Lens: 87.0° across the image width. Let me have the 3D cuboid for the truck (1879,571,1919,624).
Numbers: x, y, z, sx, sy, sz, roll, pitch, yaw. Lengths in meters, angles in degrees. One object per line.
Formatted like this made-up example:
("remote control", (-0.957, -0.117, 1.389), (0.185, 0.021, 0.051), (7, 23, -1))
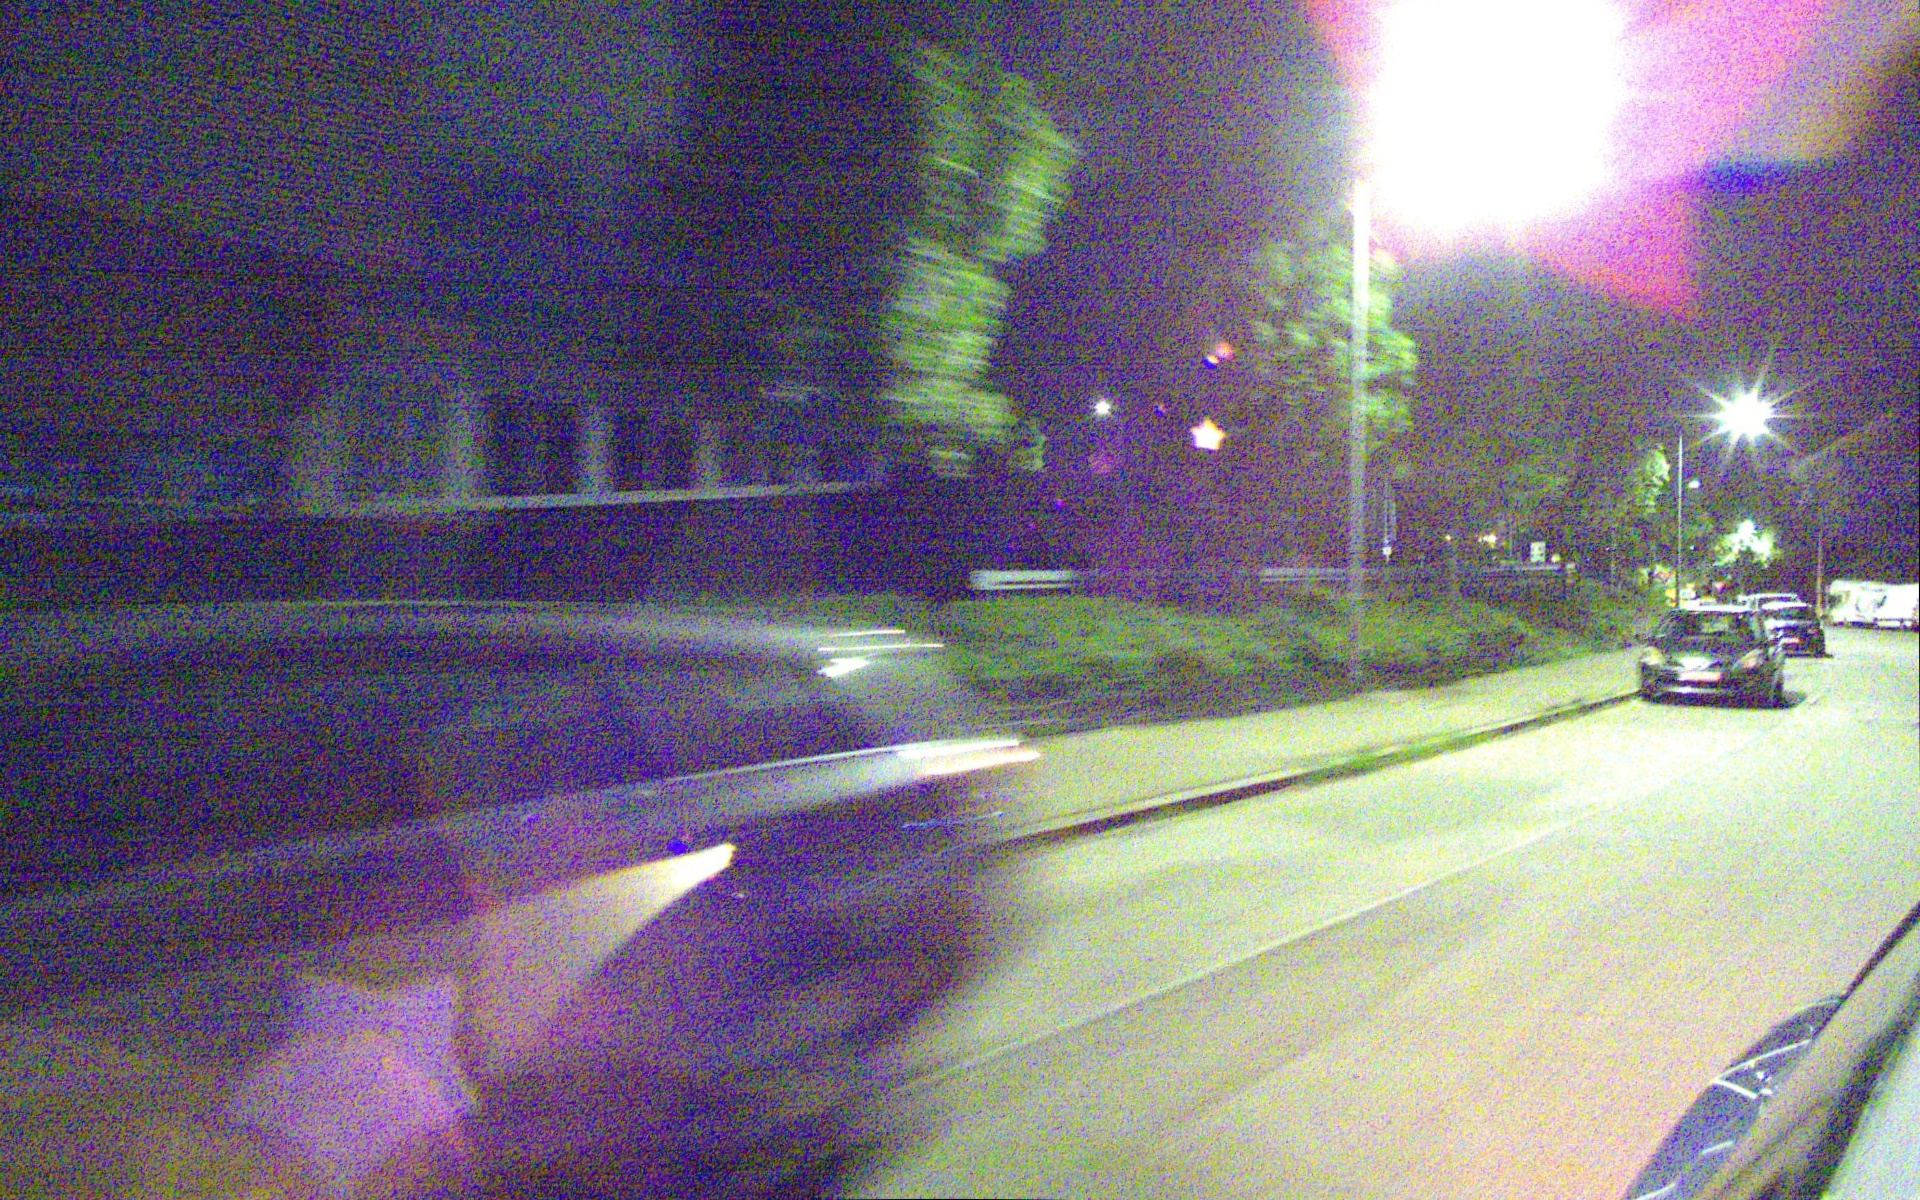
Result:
("truck", (53.565, -0.118, 56.192), (1.982, 2.819, 7.171), (2, 1, 28))

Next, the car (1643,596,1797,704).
("car", (12.340, 0.708, 16.348), (1.709, 1.527, 3.940), (0, 0, 41))

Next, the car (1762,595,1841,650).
("car", (24.795, 0.636, 29.910), (1.605, 1.531, 3.773), (-2, -1, 38))

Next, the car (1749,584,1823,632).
("car", (37.476, 0.374, 46.040), (1.985, 2.039, 5.290), (-1, -1, 33))

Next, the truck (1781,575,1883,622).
("truck", (62.970, -0.151, 73.376), (2.720, 3.103, 9.268), (1, 1, 22))

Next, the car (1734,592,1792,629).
("car", (41.455, 0.512, 52.327), (1.720, 1.802, 4.270), (0, 0, 30))

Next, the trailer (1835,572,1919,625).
("trailer", (57.751, -0.108, 63.806), (2.471, 3.111, 7.865), (2, 1, 31))

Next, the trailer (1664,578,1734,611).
("trailer", (48.185, -0.384, 66.125), (1.470, 2.039, 4.974), (1, 1, 8))

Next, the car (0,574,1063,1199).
("car", (-1.958, 0.711, 2.197), (4.560, 1.527, 1.713), (0, 1, -42))
